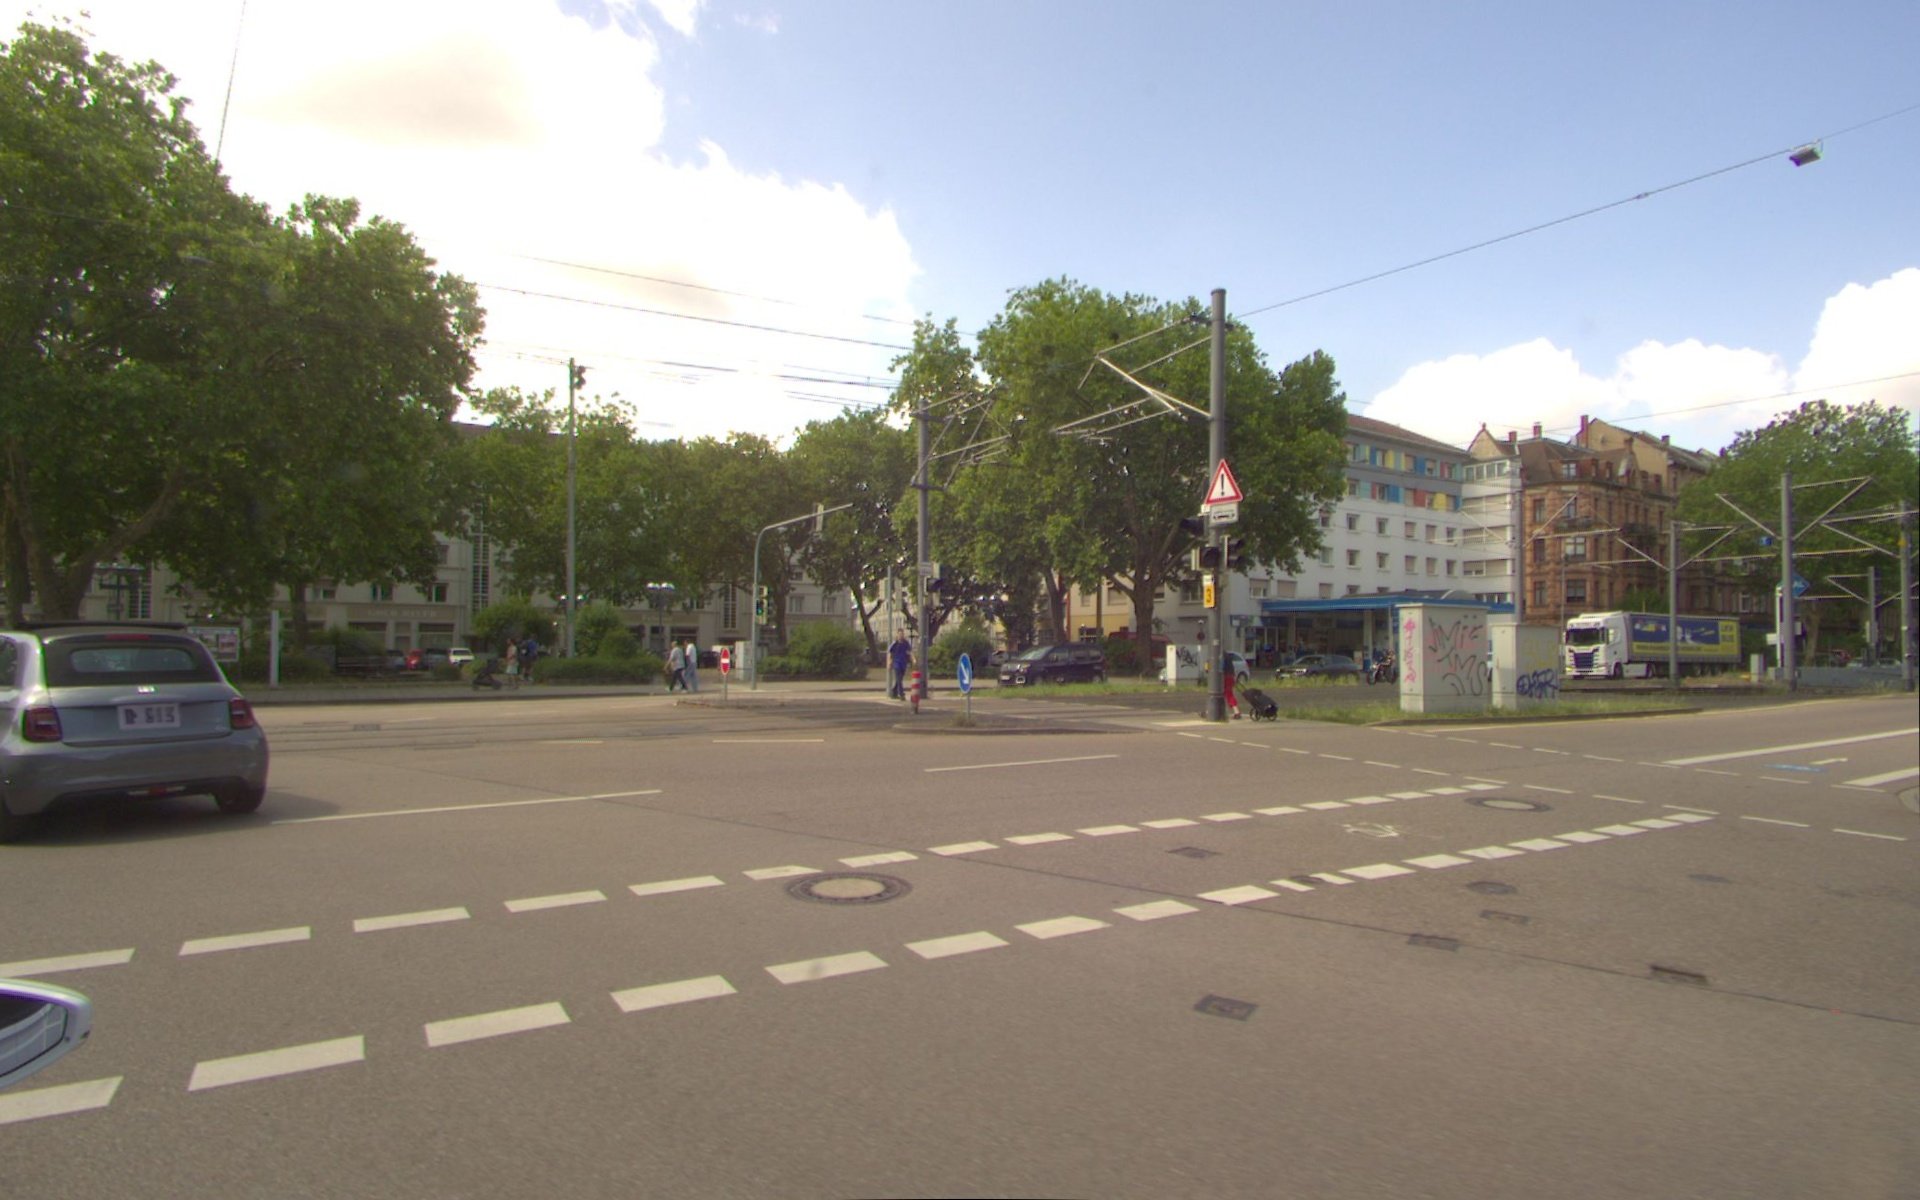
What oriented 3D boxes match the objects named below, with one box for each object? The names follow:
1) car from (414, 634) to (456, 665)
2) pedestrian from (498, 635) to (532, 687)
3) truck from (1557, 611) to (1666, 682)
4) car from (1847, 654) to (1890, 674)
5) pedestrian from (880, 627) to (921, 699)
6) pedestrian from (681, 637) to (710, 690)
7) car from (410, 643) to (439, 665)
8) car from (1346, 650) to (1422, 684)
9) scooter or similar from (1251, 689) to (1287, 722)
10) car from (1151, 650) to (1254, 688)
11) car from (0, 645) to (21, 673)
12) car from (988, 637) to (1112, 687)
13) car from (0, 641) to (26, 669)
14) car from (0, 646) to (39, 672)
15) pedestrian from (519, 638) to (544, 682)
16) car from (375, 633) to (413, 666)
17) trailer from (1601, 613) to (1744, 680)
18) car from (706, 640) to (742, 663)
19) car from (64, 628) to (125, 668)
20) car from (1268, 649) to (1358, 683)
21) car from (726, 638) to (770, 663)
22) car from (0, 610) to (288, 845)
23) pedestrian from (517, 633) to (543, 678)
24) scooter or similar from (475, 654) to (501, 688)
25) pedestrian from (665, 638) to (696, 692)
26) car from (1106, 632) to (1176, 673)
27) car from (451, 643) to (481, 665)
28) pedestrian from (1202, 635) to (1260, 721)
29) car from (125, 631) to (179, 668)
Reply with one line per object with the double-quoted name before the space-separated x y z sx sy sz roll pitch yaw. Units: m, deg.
"car" -35.133 3.321 66.953 1.975 2.039 3.975 2 -3 -35
"pedestrian" -14.505 1.994 32.666 0.910 1.666 0.567 2 -2 -32
"truck" 40.137 2.868 61.661 6.495 4.201 2.905 1 -3 -29
"car" 77.309 5.463 85.182 3.947 1.651 1.793 2 -3 -33
"pedestrian" -1.487 1.557 24.965 0.734 1.753 0.767 2 -2 -34
"pedestrian" -8.970 2.152 33.967 0.683 1.786 0.667 -1 -2 33
"car" -40.578 4.093 75.835 1.720 1.657 3.979 1 -3 -31
"car" 20.827 3.286 49.117 3.704 1.583 1.676 2 -3 -33
"scooter or similar" 5.524 1.883 17.893 0.516 0.542 0.308 1 -1 44
"car" 10.092 2.826 41.589 4.271 1.484 1.724 2 -3 -34
"car" -49.475 3.054 51.614 1.455 1.406 3.040 3 -4 -42
"car" 3.361 2.285 37.156 4.360 1.748 1.844 2 -3 -33
"car" -59.887 3.452 62.916 1.453 1.686 3.045 2 -3 -37
"car" -51.677 3.219 54.984 1.454 1.406 3.209 2 -4 -40
"pedestrian" -17.446 2.436 40.804 0.597 1.772 0.695 -1 -2 33
"car" -37.253 3.256 65.873 1.973 2.039 3.979 1 -3 -32
"trailer" 46.515 3.037 65.207 11.482 4.128 2.904 2 -3 -29
"car" -21.008 4.605 89.105 1.973 1.988 3.979 1 -3 -31
"car" -48.924 2.726 56.665 1.974 2.210 4.233 2 -3 -33
"car" 16.057 2.963 45.547 3.920 1.465 1.844 1 -2 -33
"car" -16.766 3.999 78.991 2.075 1.929 4.468 1 -3 -31
"car" -7.282 0.898 8.308 3.421 1.557 1.688 -1 -2 35
"pedestrian" -16.850 2.169 39.255 0.597 1.772 0.695 -1 -2 32
"scooter or similar" -15.203 2.280 32.233 0.699 1.069 0.488 2 -2 -32
"pedestrian" -9.294 2.145 33.278 0.683 1.744 0.716 -1 -2 33
"car" 11.338 3.286 62.563 3.947 2.450 2.101 2 -3 -33
"car" -38.195 4.170 77.344 1.720 1.657 3.979 1 -3 -31
"pedestrian" 4.979 1.413 18.395 0.767 1.511 0.652 1 -1 44
"car" -47.023 2.898 58.355 1.974 2.102 3.978 2 -3 -33
